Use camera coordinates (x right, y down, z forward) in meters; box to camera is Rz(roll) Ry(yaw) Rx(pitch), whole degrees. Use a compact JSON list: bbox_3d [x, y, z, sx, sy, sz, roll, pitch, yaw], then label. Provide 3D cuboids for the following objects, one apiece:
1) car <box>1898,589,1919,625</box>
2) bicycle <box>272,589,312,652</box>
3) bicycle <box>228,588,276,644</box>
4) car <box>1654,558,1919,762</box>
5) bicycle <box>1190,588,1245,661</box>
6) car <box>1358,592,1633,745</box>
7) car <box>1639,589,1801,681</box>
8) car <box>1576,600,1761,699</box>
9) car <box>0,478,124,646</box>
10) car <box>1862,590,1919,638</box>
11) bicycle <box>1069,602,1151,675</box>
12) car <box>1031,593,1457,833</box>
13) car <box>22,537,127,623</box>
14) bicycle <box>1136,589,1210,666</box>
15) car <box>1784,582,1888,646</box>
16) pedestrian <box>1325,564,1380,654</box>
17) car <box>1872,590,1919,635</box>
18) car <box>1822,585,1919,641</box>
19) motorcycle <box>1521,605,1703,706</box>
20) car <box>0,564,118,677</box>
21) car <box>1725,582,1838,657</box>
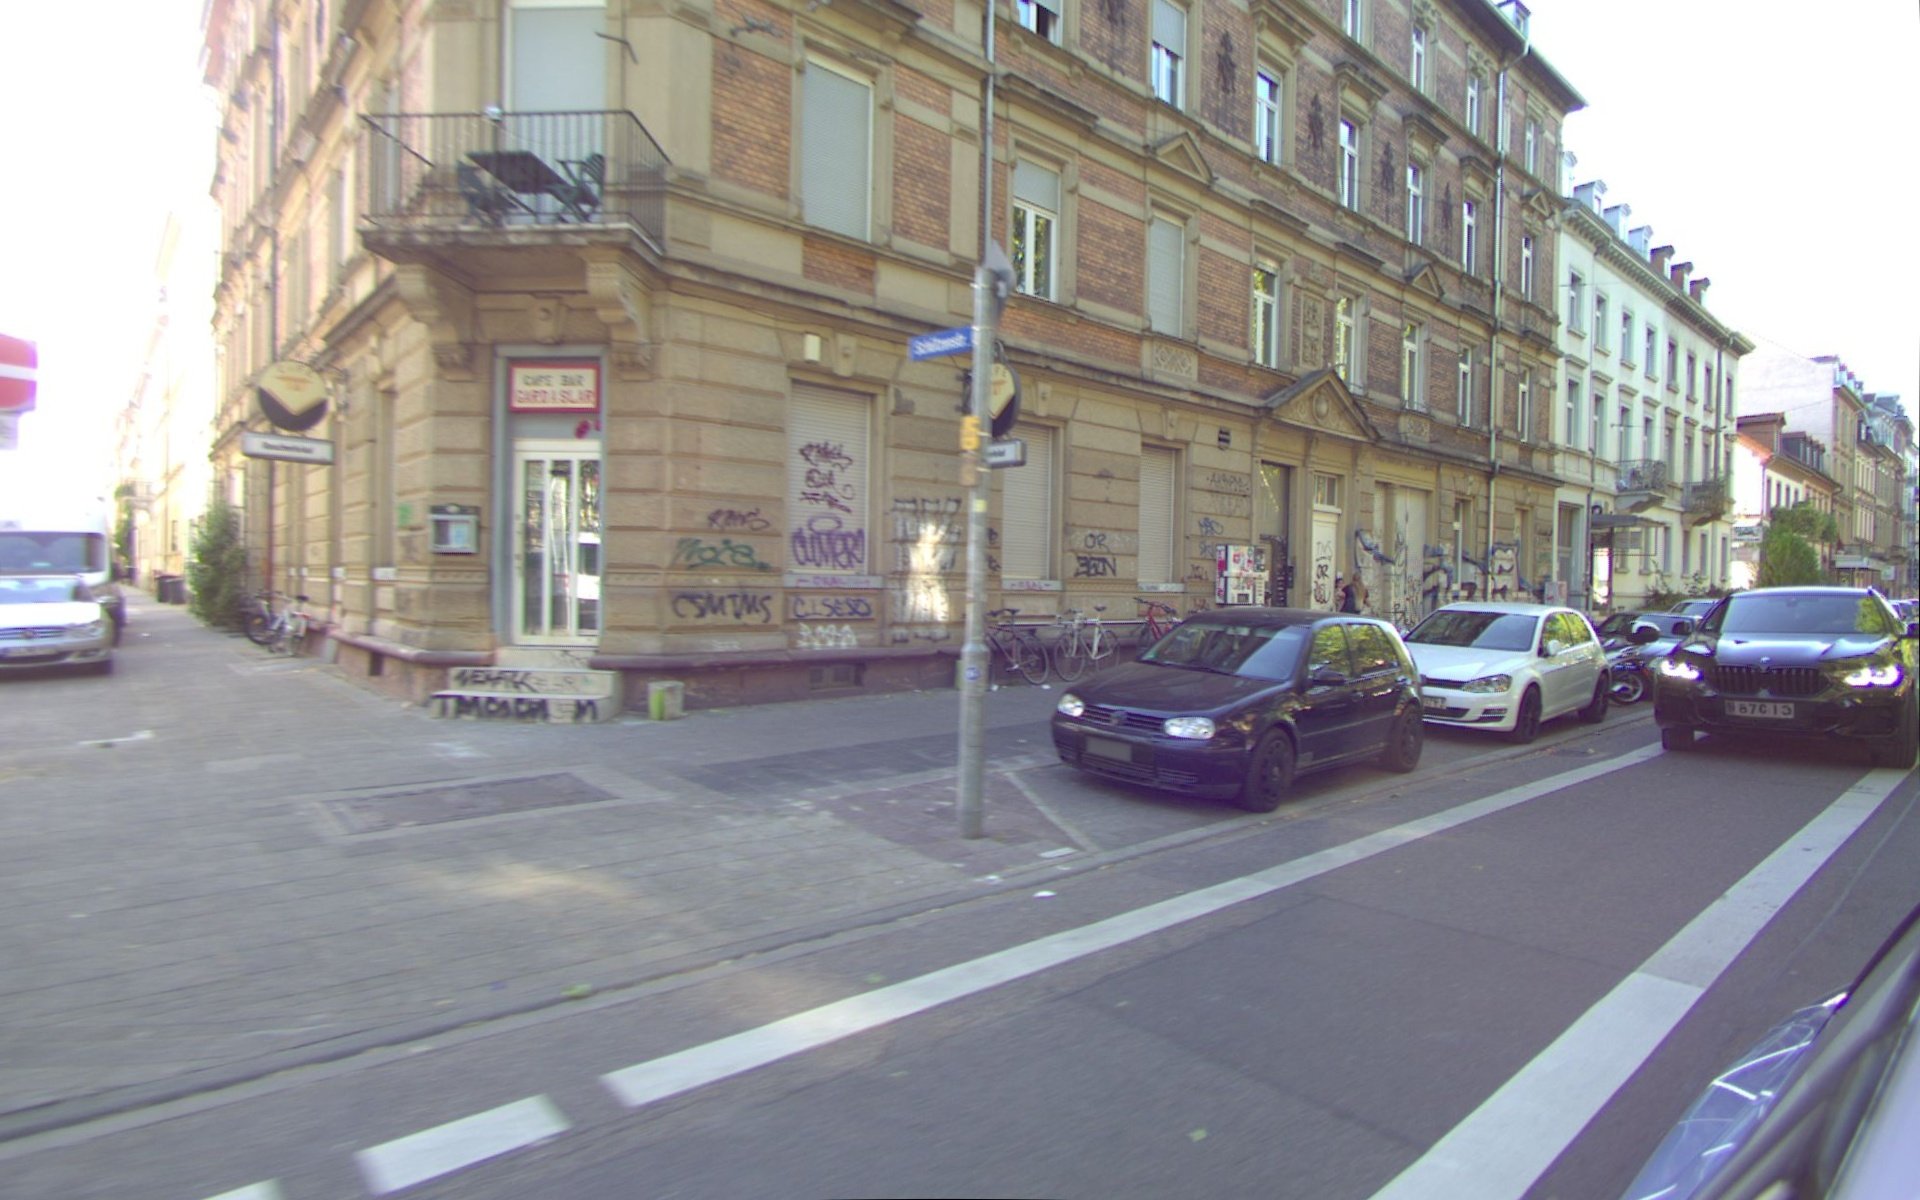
[{"bbox_3d":[44.328,0.318,46.242,3.621,1.587,1.702,0,3,-41],"label":"car"},{"bbox_3d":[-11.065,0.320,16.758,0.372,0.973,1.370,0,2,-41],"label":"bicycle"},{"bbox_3d":[-13.033,0.274,18.617,1.366,0.973,0.374,2,1,40],"label":"bicycle"},{"bbox_3d":[9.291,0.530,10.803,4.547,1.726,1.948,1,0,-40],"label":"car"},{"bbox_3d":[4.302,0.395,16.899,1.119,1.168,0.274,0,1,-40],"label":"bicycle"},{"bbox_3d":[6.501,0.677,12.102,3.944,1.437,1.605,-1,4,-42],"label":"car"},{"bbox_3d":[14.303,0.575,18.988,3.675,1.469,1.610,0,4,-40],"label":"car"},{"bbox_3d":[11.600,0.718,16.492,3.661,1.288,1.652,-1,4,-42],"label":"car"},{"bbox_3d":[-17.519,-0.725,19.425,2.201,2.810,5.538,0,2,-40],"label":"car"},{"bbox_3d":[33.101,0.463,35.629,3.300,1.524,1.542,0,3,-41],"label":"car"},{"bbox_3d":[2.214,0.551,14.886,1.348,1.013,0.379,0,1,-40],"label":"bicycle"},{"bbox_3d":[2.565,0.725,8.553,3.993,1.437,1.651,-1,4,-44],"label":"car"},{"bbox_3d":[-21.523,-0.525,24.535,1.746,1.889,4.669,0,2,-43],"label":"car"},{"bbox_3d":[3.381,0.420,16.017,1.348,1.168,0.378,0,1,-40],"label":"bicycle"},{"bbox_3d":[24.641,0.354,28.421,3.840,1.523,1.635,-1,6,-42],"label":"car"},{"bbox_3d":[7.516,0.150,19.376,0.753,1.677,0.715,0,1,-42],"label":"pedestrian"},{"bbox_3d":[36.109,0.447,38.381,3.621,1.587,1.729,0,3,-41],"label":"car"},{"bbox_3d":[29.446,0.380,32.709,3.838,1.523,1.730,0,6,-41],"label":"car"},{"bbox_3d":[9.285,0.753,14.523,2.120,1.305,0.637,1,1,28],"label":"motorcycle"},{"bbox_3d":[-13.236,0.212,14.417,1.673,1.394,3.991,0,2,-43],"label":"car"},{"bbox_3d":[18.945,0.398,23.312,2.772,1.561,1.513,0,3,-41],"label":"car"}]
